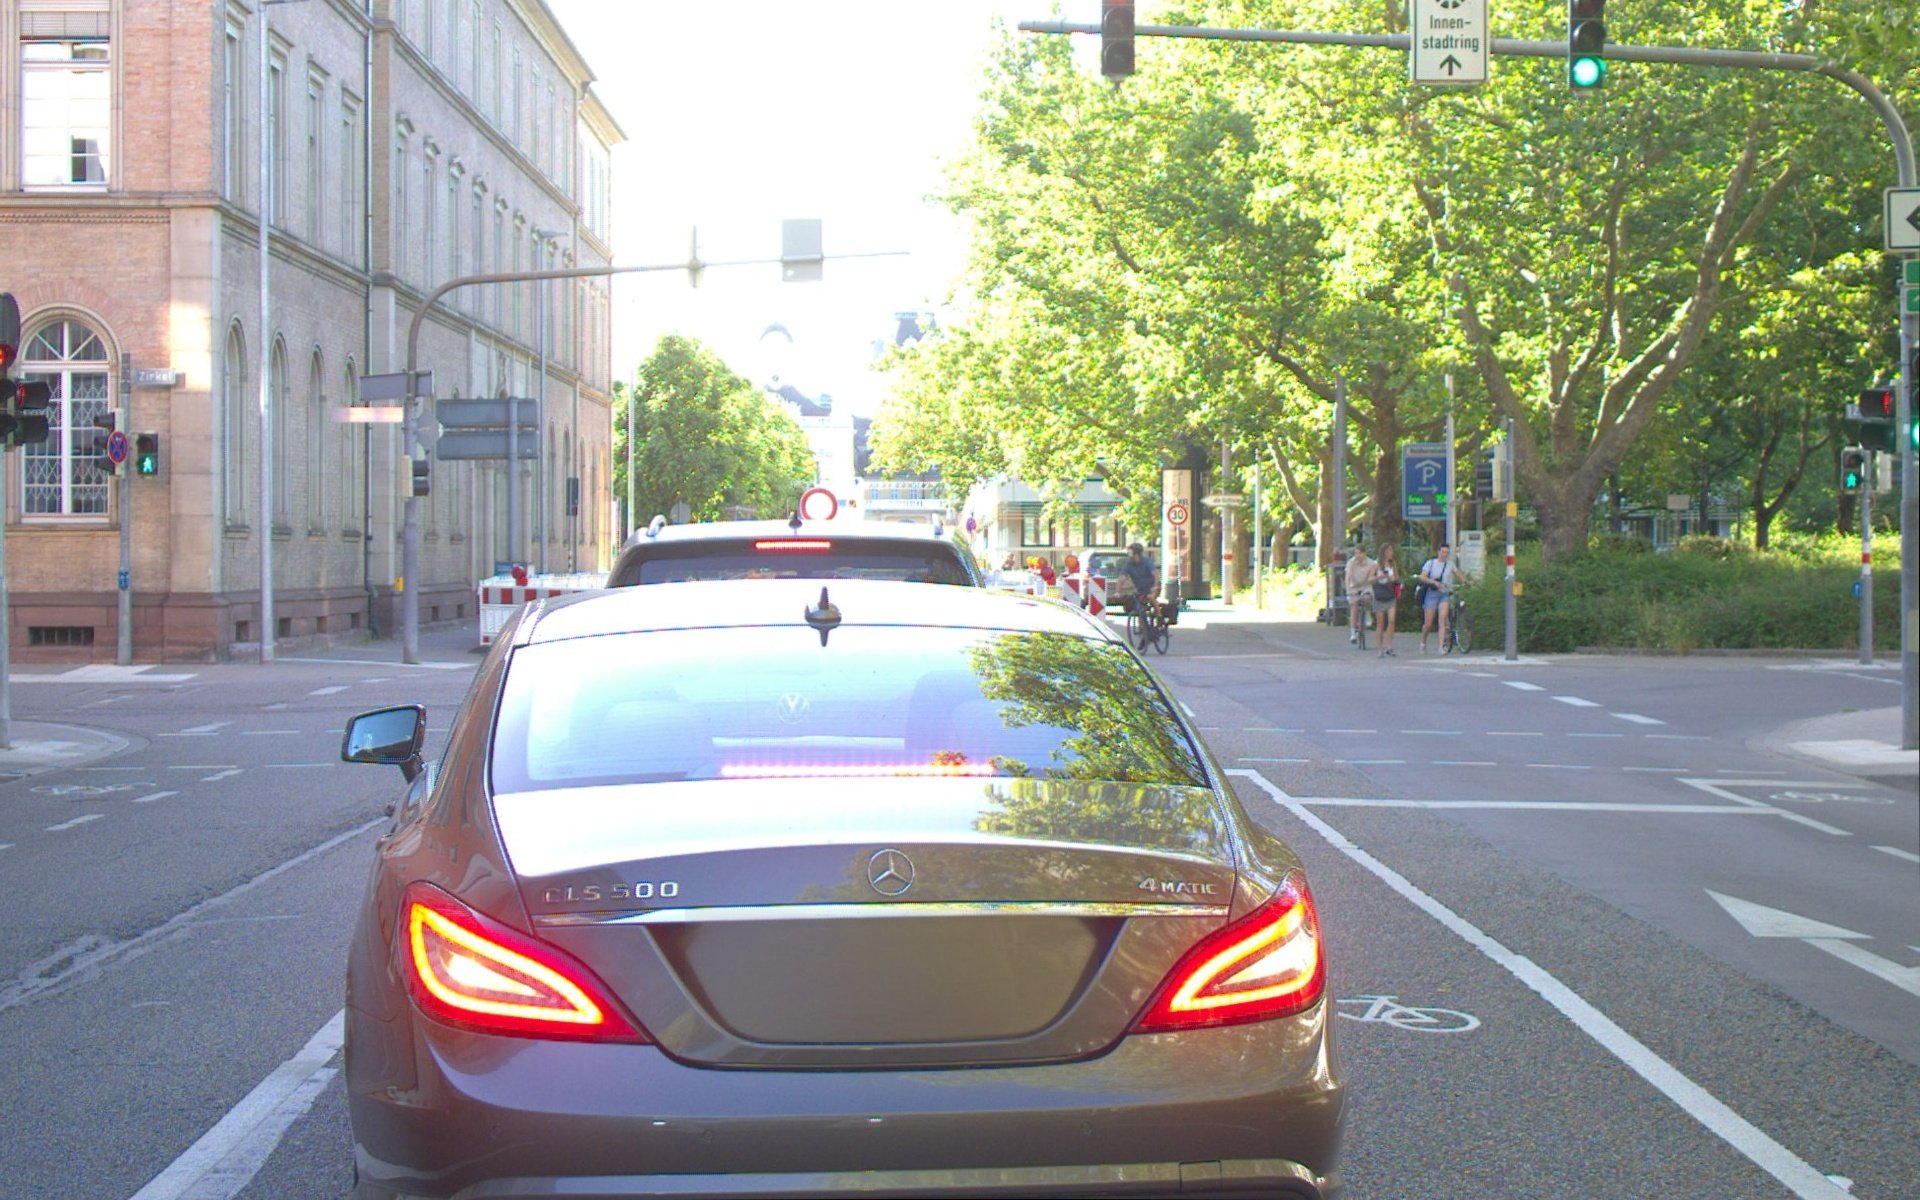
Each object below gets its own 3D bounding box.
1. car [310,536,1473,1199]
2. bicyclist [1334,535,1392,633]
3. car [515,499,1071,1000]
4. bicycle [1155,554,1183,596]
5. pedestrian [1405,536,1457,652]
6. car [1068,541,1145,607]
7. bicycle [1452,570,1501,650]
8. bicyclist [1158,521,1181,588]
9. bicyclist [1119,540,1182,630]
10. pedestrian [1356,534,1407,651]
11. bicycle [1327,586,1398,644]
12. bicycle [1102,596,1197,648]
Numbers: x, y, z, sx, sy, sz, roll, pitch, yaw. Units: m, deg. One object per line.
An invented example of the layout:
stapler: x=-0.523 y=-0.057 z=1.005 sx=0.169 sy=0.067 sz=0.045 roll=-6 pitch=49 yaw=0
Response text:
car: x=-0.366 y=0.627 z=7.474 sx=1.861 sy=1.514 sz=4.001 roll=0 pitch=1 yaw=-8
bicyclist: x=6.709 y=-0.265 z=57.303 sx=0.825 sy=1.612 sz=0.957 roll=1 pitch=0 yaw=-1
car: x=-0.586 y=0.472 z=13.605 sx=1.861 sy=1.677 sz=4.000 roll=1 pitch=1 yaw=-1
bicycle: x=6.375 y=-0.776 z=104.991 sx=0.591 sy=1.259 sz=1.806 roll=1 pitch=1 yaw=-5
pedestrian: x=7.247 y=-0.097 z=52.952 sx=0.635 sy=1.754 sz=0.699 roll=1 pitch=0 yaw=-4
car: x=4.018 y=-0.749 z=95.064 sx=1.861 sy=1.758 sz=4.482 roll=1 pitch=1 yaw=-1
bicycle: x=7.937 y=0.149 z=52.873 sx=0.482 sy=1.198 sz=1.606 roll=1 pitch=1 yaw=-1
bicyclist: x=6.386 y=-1.376 z=104.971 sx=0.594 sy=2.032 sz=0.566 roll=1 pitch=0 yaw=-4
bicyclist: x=2.979 y=-0.235 z=53.811 sx=0.734 sy=1.393 sz=0.697 roll=1 pitch=0 yaw=28
pedestrian: x=6.519 y=-0.121 z=53.218 sx=0.635 sy=1.791 sz=0.699 roll=1 pitch=0 yaw=-4
bicycle: x=6.697 y=0.235 z=57.332 sx=0.828 sy=0.921 sz=2.617 roll=1 pitch=1 yaw=-1
bicycle: x=2.981 y=0.338 z=53.847 sx=0.724 sy=0.788 sz=1.925 roll=1 pitch=1 yaw=28
